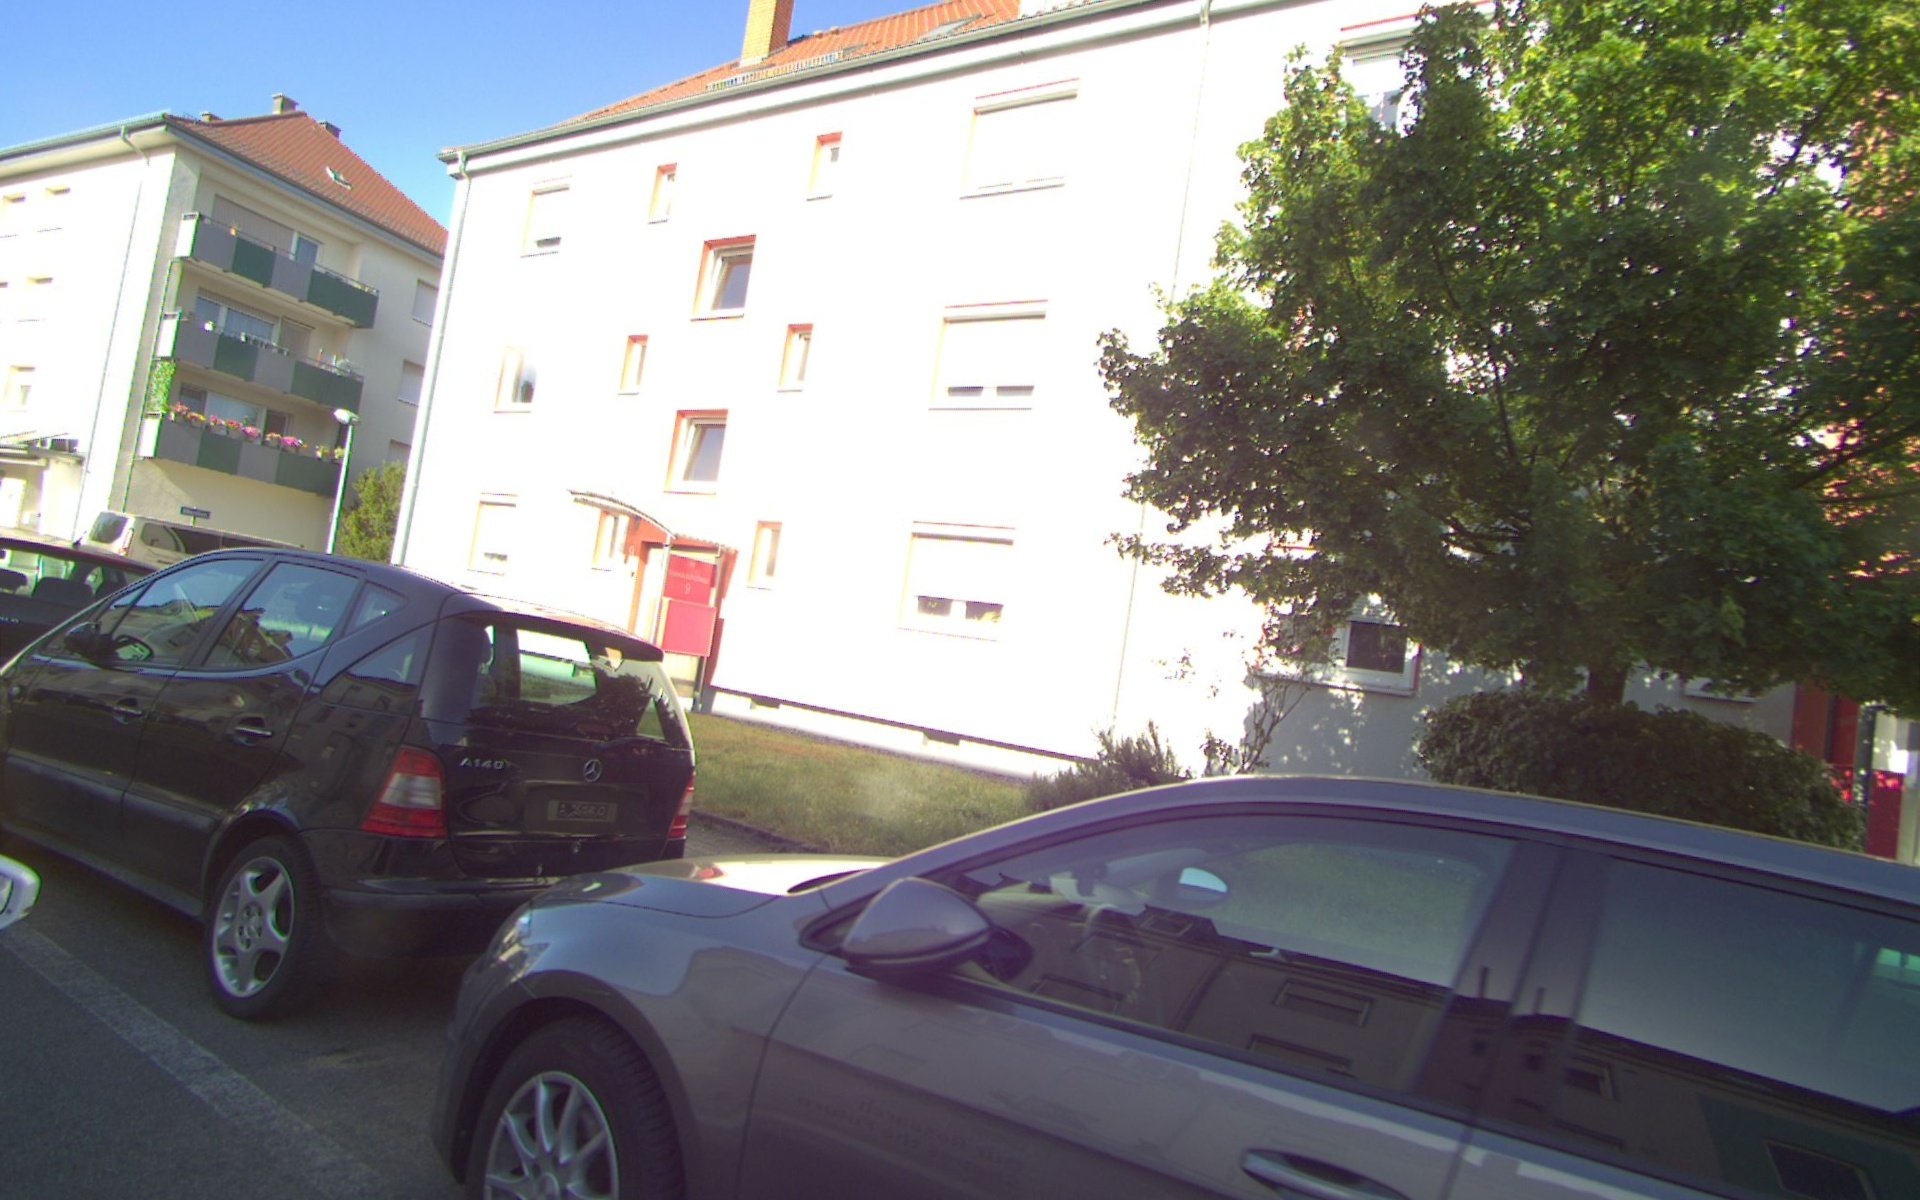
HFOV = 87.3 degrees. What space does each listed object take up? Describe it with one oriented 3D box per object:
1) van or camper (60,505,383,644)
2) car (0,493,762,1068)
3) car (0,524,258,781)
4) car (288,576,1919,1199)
[{"bbox_3d":[-15.856,-0.435,21.994,1.965,2.034,5.143,8,-4,28],"label":"van or camper"},{"bbox_3d":[-2.928,0.551,4.573,3.547,1.566,1.624,7,-5,27],"label":"car"},{"bbox_3d":[-6.896,0.192,7.067,3.723,1.430,1.580,7,-6,30],"label":"car"},{"bbox_3d":[0.713,1.052,2.047,3.883,1.463,1.637,8,-7,28],"label":"car"}]
